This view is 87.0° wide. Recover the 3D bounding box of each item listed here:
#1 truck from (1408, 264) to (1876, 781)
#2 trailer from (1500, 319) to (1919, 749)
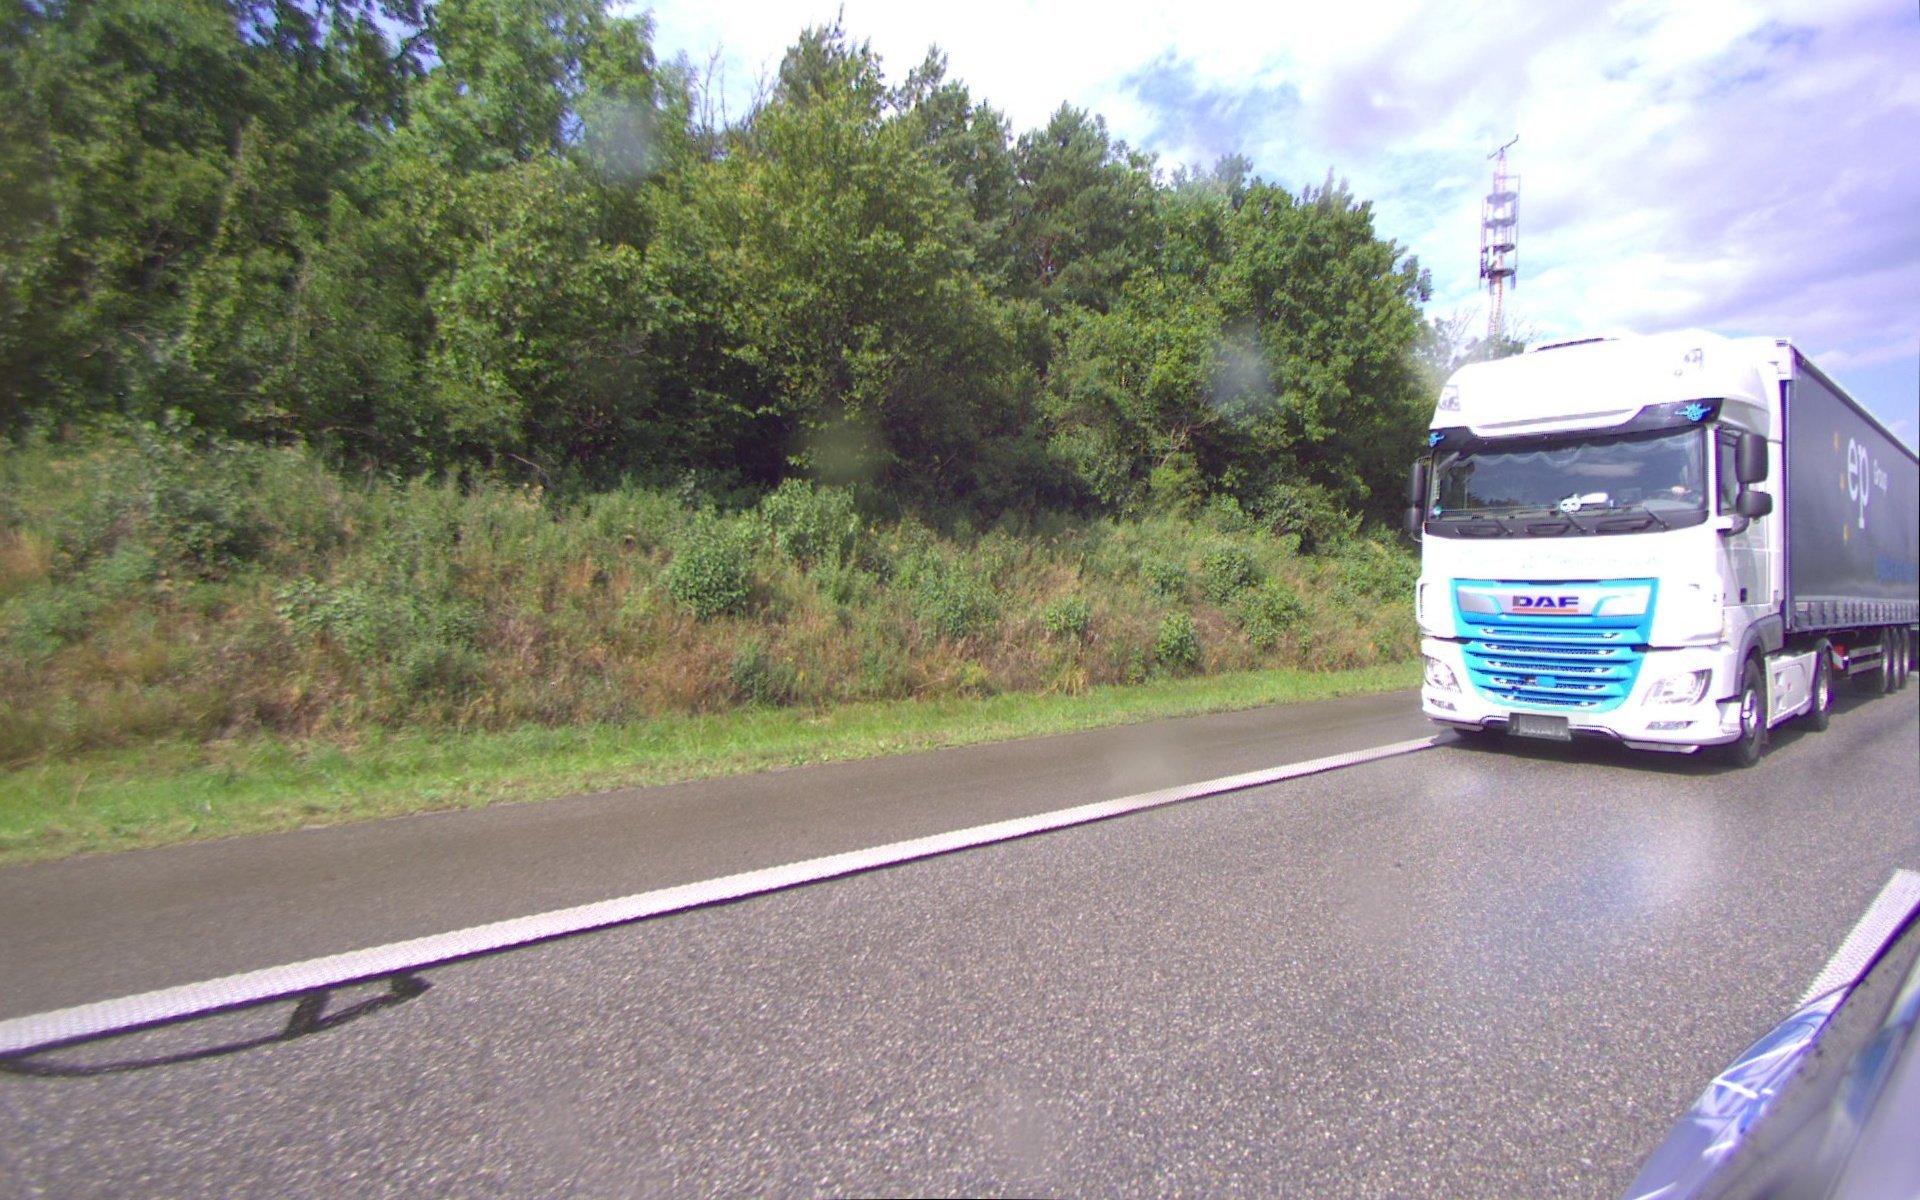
[{"bbox_3d":[7.920,-0.645,11.284,7.164,4.046,2.611,-1,0,-41],"label":"truck"},{"bbox_3d":[12.196,-0.691,15.105,13.821,4.046,2.638,-1,0,-41],"label":"trailer"}]
